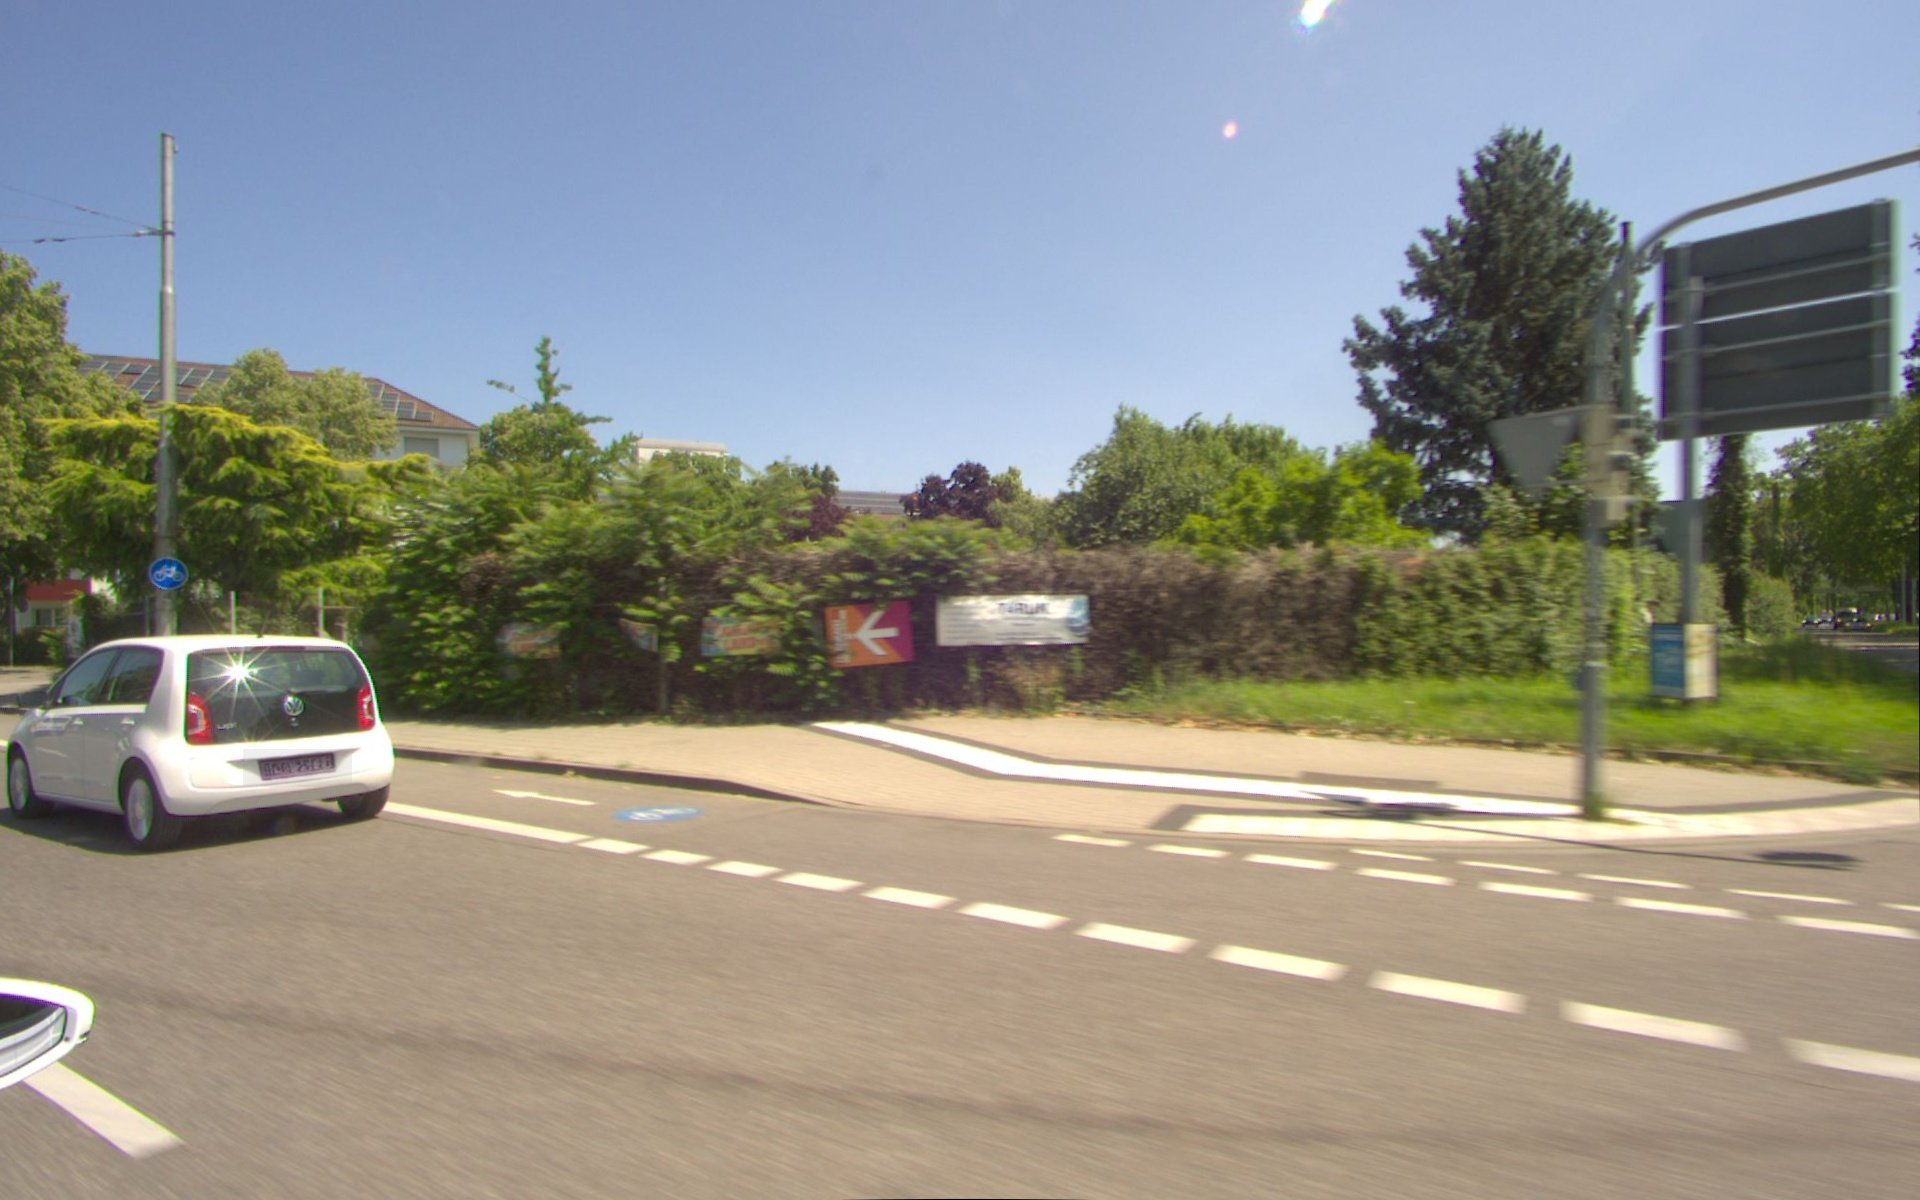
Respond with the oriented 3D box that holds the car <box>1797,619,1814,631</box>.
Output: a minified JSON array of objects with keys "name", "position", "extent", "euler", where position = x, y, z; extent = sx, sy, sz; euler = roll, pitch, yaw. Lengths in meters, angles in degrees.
[{"name":"car","position":[123.844,3.649,146.720],"extent":[1.739,1.682,3.874],"euler":[-2,-3,39]}]

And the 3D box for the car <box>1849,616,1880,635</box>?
[{"name":"car","position":[80.959,2.312,89.668],"extent":[1.739,1.682,3.874],"euler":[-2,-3,39]}]

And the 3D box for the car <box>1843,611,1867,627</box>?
[{"name":"car","position":[100.629,2.149,112.572],"extent":[1.739,1.682,3.874],"euler":[-2,-3,39]}]

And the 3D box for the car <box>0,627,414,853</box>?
[{"name":"car","position":[-6.208,0.972,8.149],"extent":[3.385,1.466,1.608],"euler":[0,-2,31]}]
